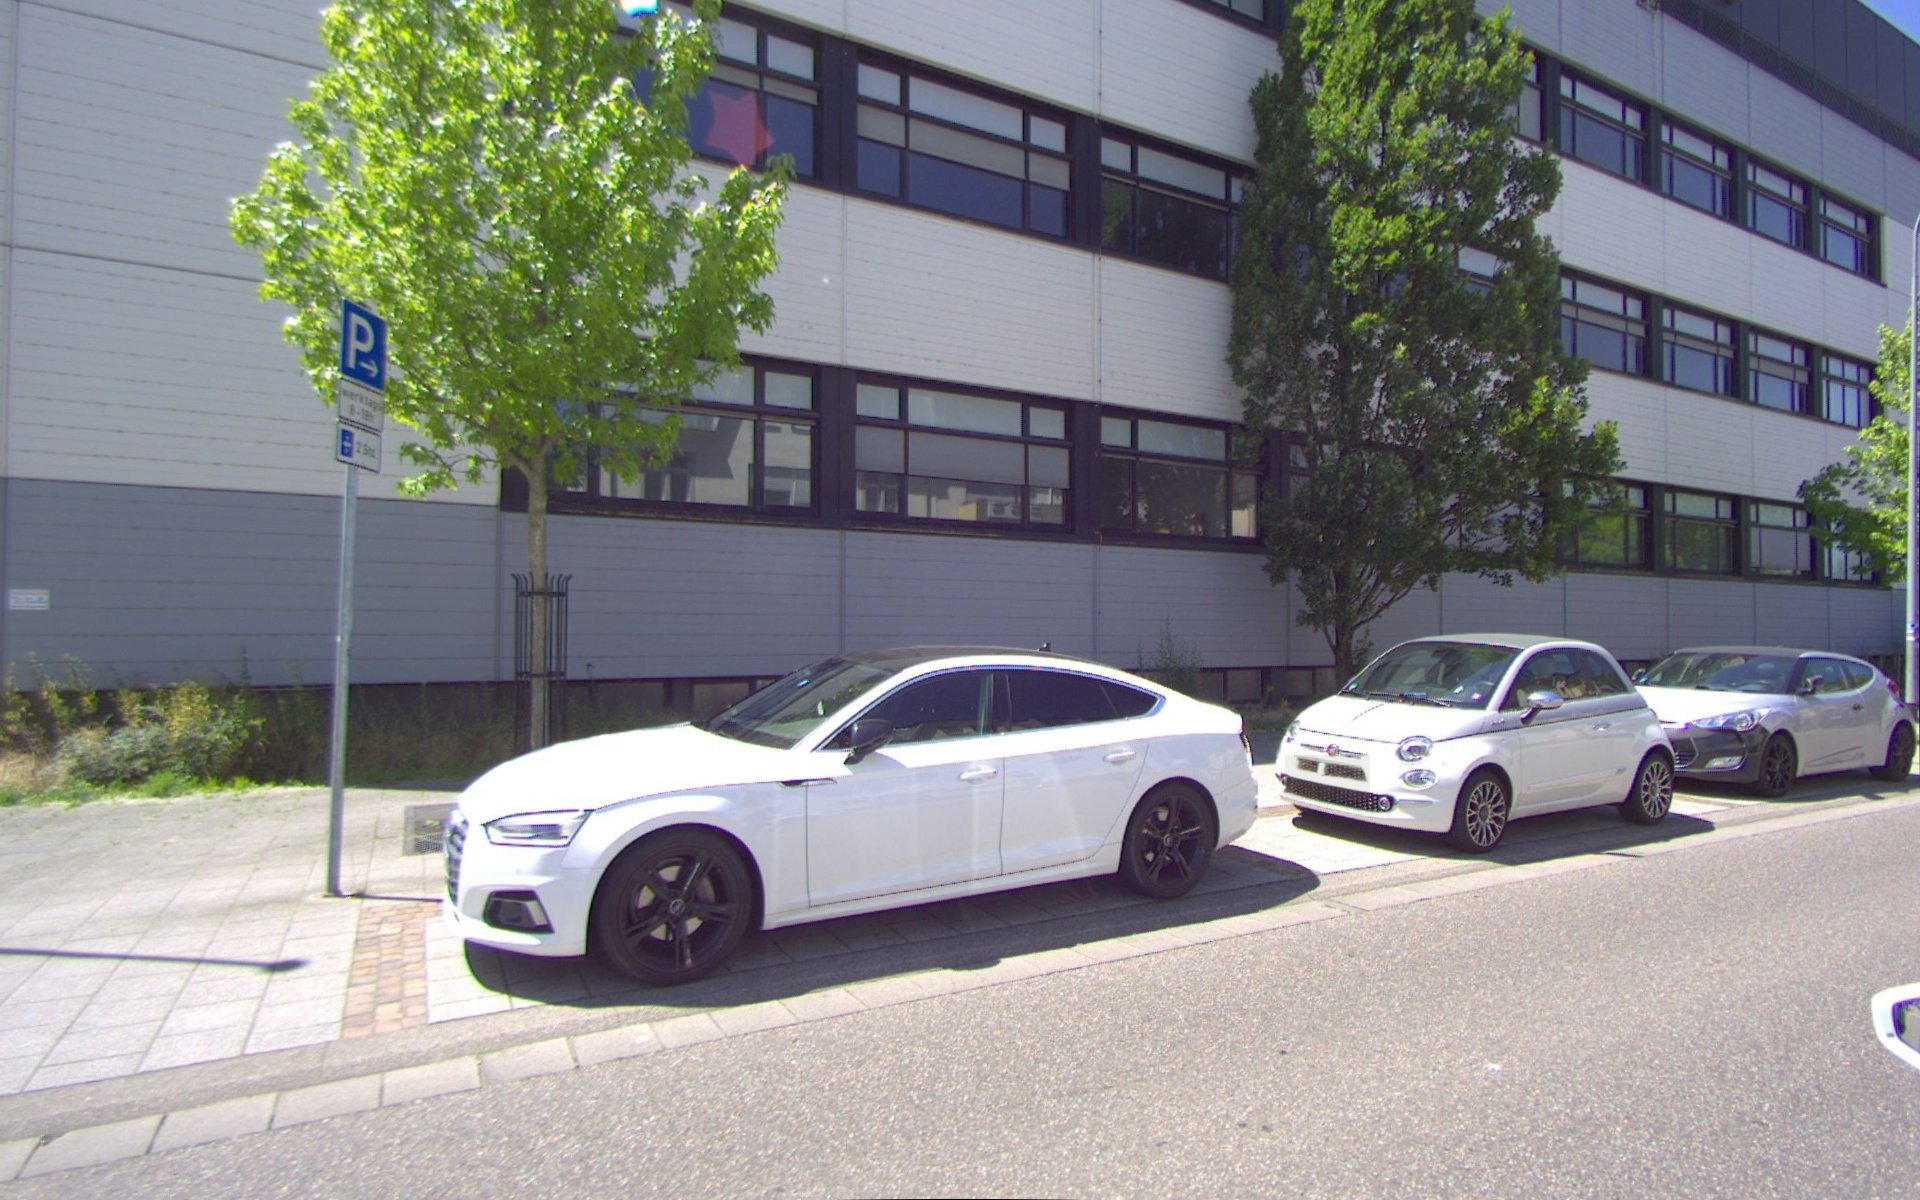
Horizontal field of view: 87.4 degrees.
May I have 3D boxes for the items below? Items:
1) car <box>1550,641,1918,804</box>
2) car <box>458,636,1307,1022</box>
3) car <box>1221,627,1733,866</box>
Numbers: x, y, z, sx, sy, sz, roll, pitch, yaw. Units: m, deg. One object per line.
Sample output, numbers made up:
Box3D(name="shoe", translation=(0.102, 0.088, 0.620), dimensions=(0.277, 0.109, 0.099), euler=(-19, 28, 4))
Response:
Box3D(name="car", translation=(8.396, 1.190, 10.861), dimensions=(3.884, 1.428, 1.741), euler=(1, -1, -28))
Box3D(name="car", translation=(-0.307, 0.954, 5.756), dimensions=(4.522, 1.430, 1.814), euler=(1, -1, -29))
Box3D(name="car", translation=(4.420, 1.034, 8.456), dimensions=(4.238, 1.532, 1.814), euler=(1, -1, -29))
